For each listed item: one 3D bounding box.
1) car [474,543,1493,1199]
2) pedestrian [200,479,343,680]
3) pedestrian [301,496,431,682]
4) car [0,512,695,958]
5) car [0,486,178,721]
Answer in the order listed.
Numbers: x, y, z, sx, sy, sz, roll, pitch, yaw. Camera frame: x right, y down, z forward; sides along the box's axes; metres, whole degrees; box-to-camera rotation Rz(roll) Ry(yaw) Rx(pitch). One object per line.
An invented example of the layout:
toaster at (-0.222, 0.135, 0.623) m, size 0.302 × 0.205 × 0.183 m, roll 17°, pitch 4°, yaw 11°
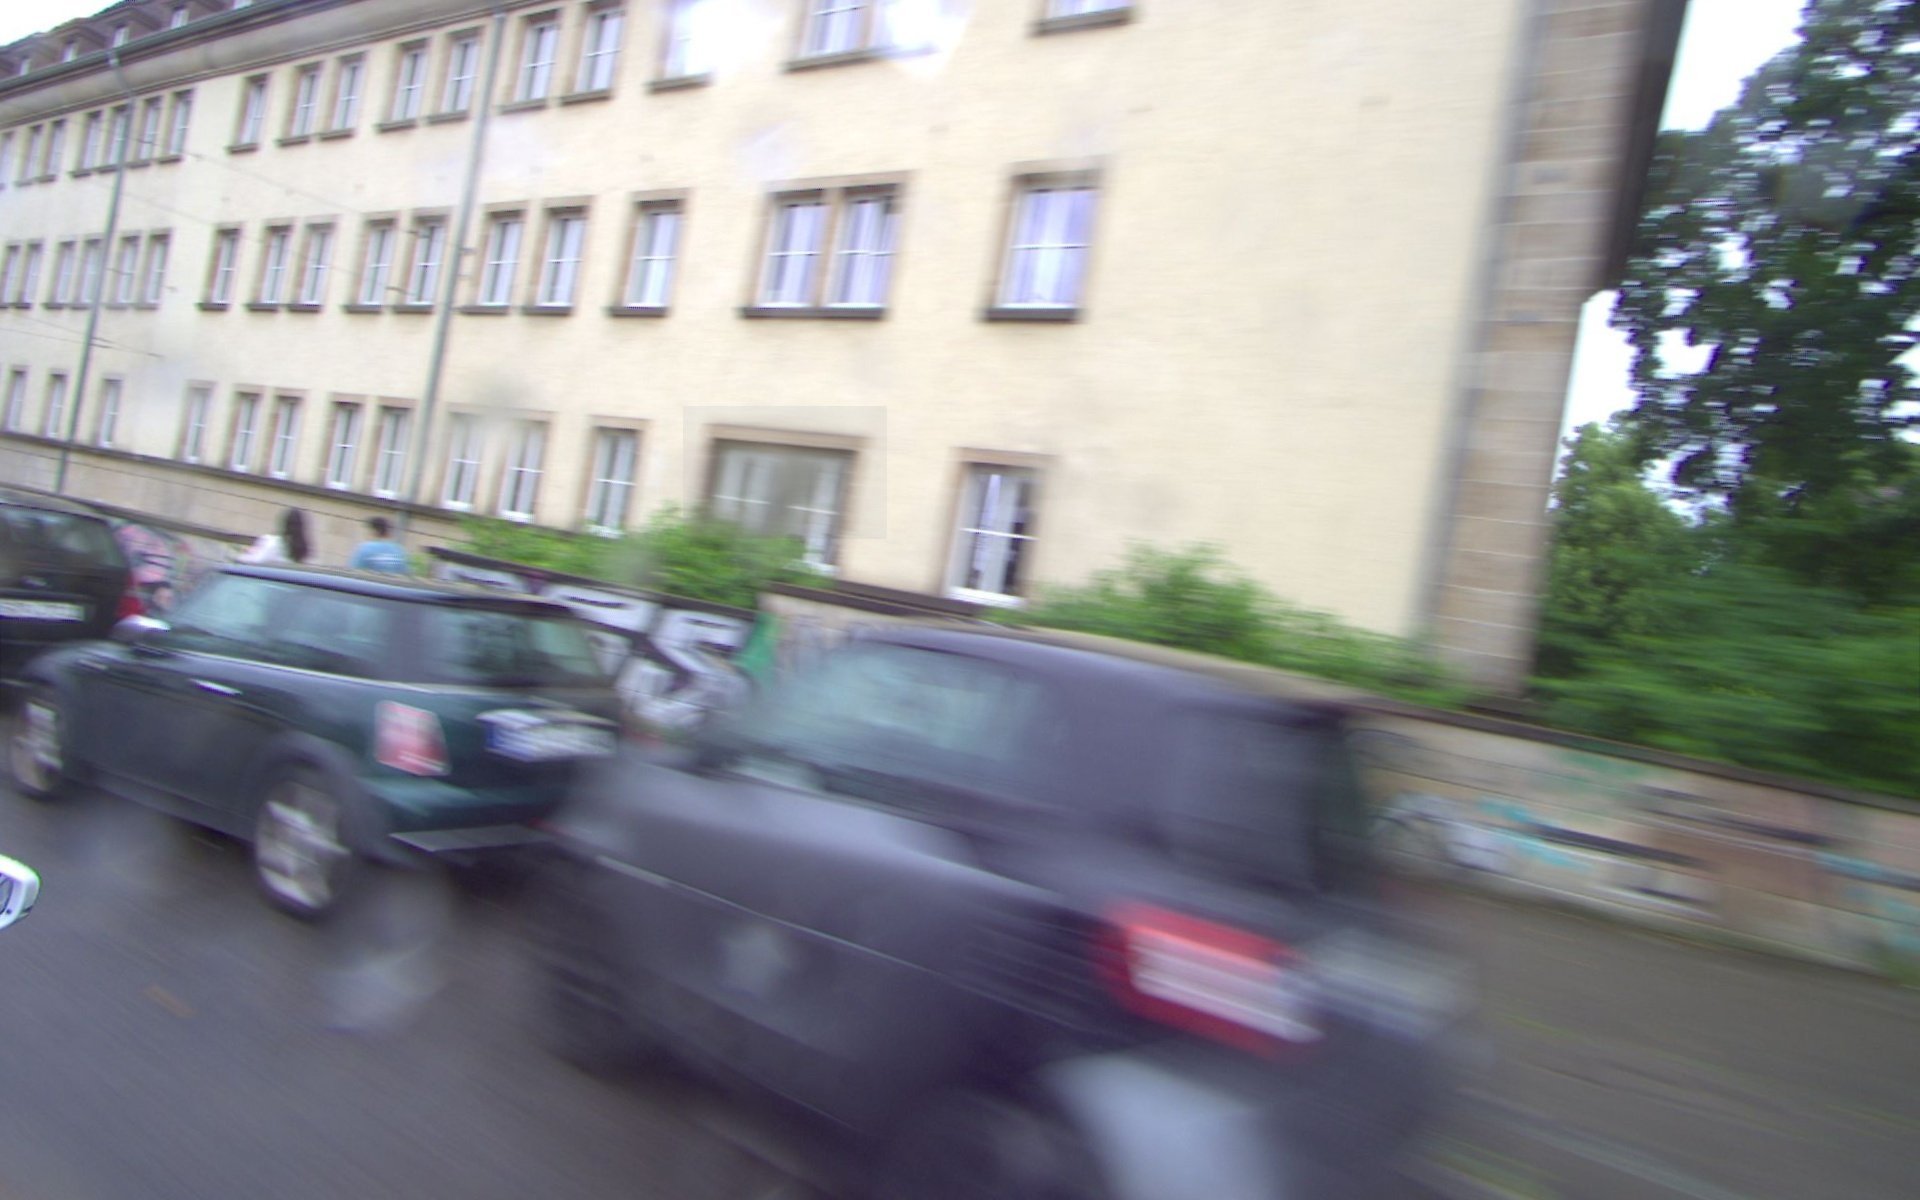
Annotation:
car at (-0.101, 0.734, 3.157) m, size 2.684 × 1.483 × 1.595 m, roll 7°, pitch -1°, yaw 43°
pedestrian at (-6.501, -0.180, 9.510) m, size 0.727 × 1.776 × 0.719 m, roll 7°, pitch 0°, yaw 31°
pedestrian at (-6.078, -0.103, 10.312) m, size 0.727 × 1.776 × 0.719 m, roll 7°, pitch 0°, yaw 31°
car at (-3.348, 0.488, 5.274) m, size 3.581 × 1.433 × 1.539 m, roll 7°, pitch 0°, yaw 28°
car at (-8.165, -0.172, 7.702) m, size 3.785 × 1.592 × 1.671 m, roll 7°, pitch 0°, yaw 22°
